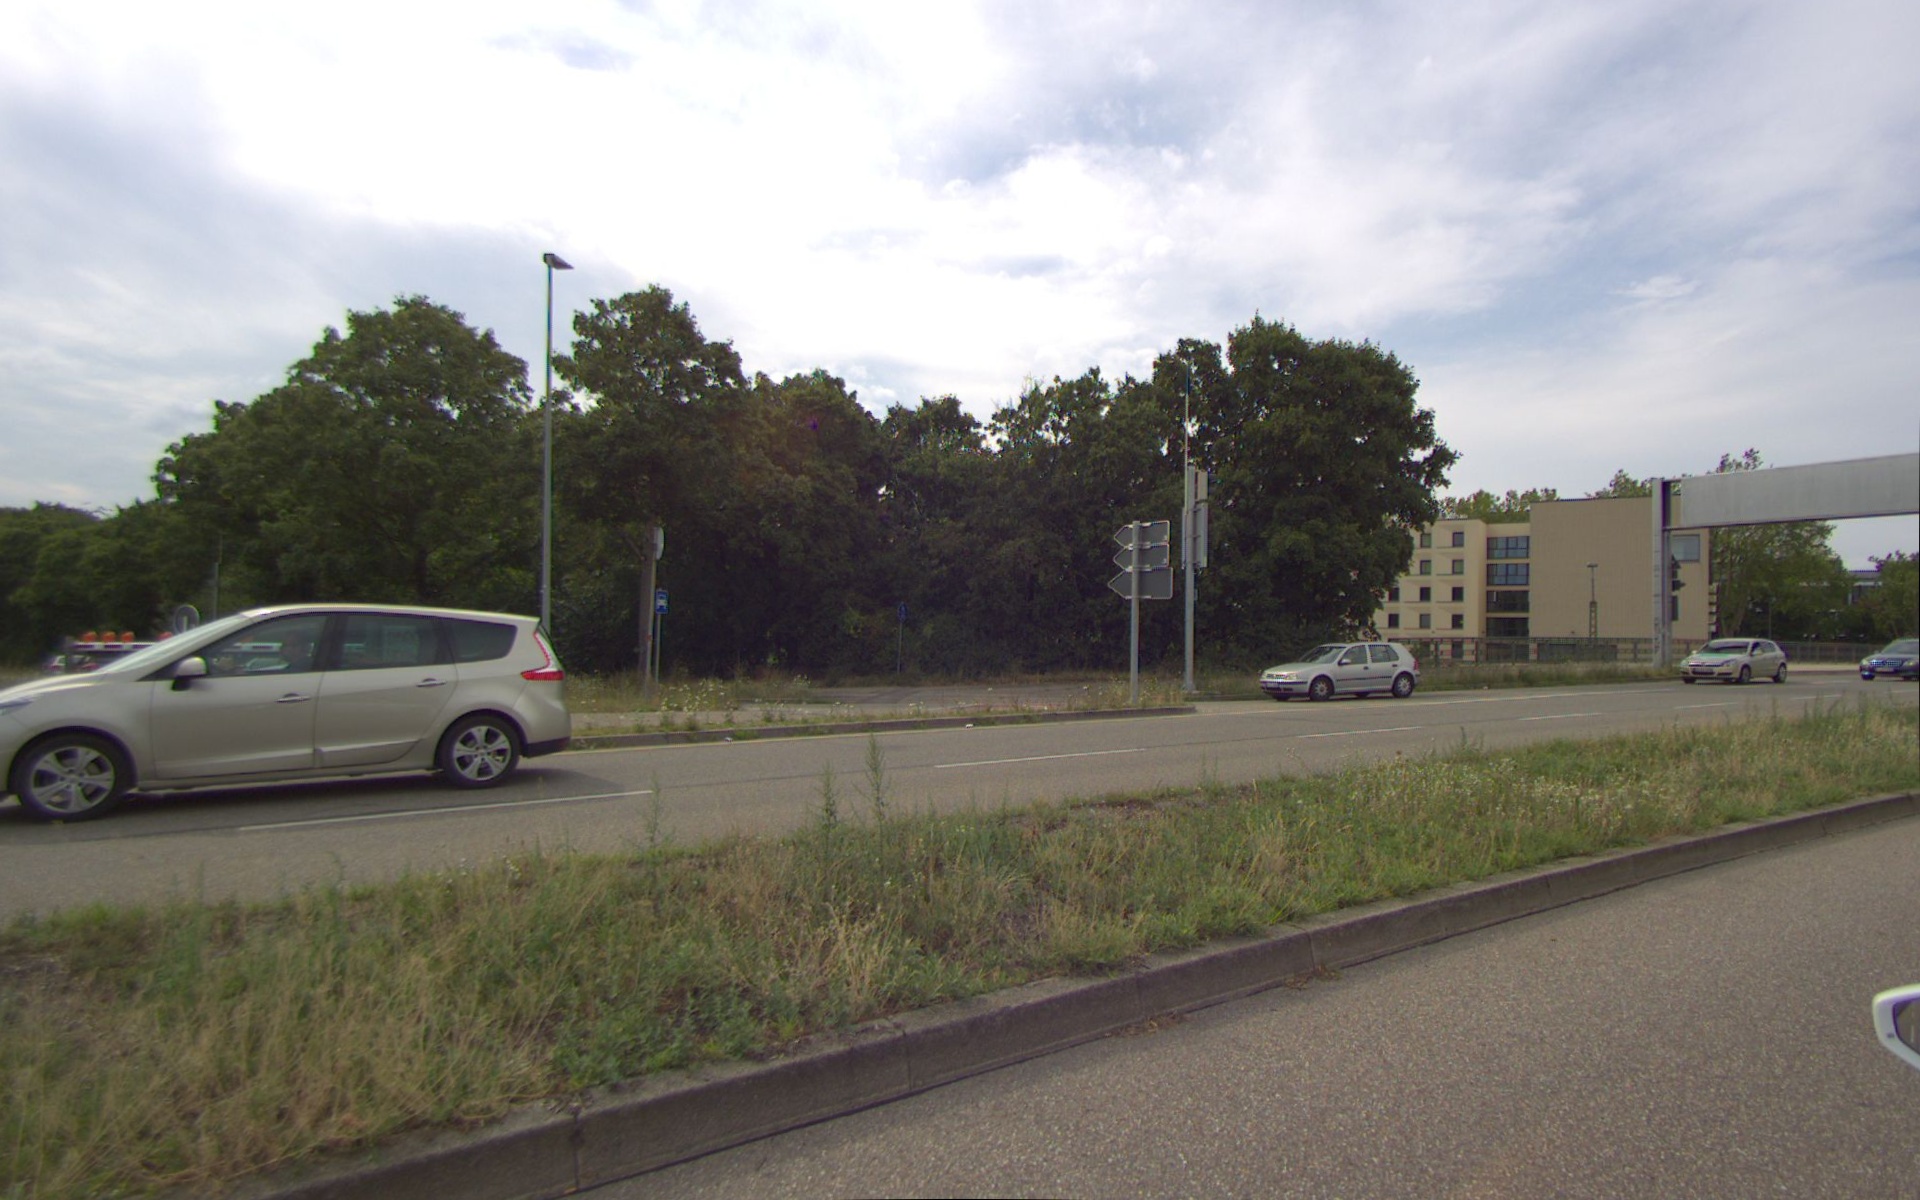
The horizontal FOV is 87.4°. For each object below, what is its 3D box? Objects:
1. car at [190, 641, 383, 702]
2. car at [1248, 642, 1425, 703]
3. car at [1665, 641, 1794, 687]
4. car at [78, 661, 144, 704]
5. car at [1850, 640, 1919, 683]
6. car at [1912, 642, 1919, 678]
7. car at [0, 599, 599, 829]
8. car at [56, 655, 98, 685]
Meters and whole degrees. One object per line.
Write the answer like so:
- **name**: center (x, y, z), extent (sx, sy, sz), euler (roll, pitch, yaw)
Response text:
- **car**: center (-17.359, 1.798, 25.921), extent (4.372, 1.465, 1.752), euler (-1, -2, 17)
- **car**: center (9.457, 1.813, 25.271), extent (4.027, 1.437, 1.665), euler (2, -3, -18)
- **car**: center (25.218, 2.110, 32.901), extent (4.258, 1.437, 1.660), euler (2, -4, -27)
- **car**: center (-31.229, 3.001, 36.920), extent (1.508, 1.386, 4.123), euler (2, -3, -45)
- **car**: center (33.370, 2.176, 35.237), extent (4.459, 1.444, 1.661), euler (2, -4, -26)
- **car**: center (43.494, 2.642, 43.751), extent (4.541, 1.544, 1.784), euler (3, -4, -31)
- **car**: center (-5.712, 0.864, 8.822), extent (4.517, 1.619, 1.735), euler (1, -2, -34)
- **car**: center (-41.190, 3.253, 46.847), extent (1.264, 1.290, 2.969), euler (2, -3, -45)
